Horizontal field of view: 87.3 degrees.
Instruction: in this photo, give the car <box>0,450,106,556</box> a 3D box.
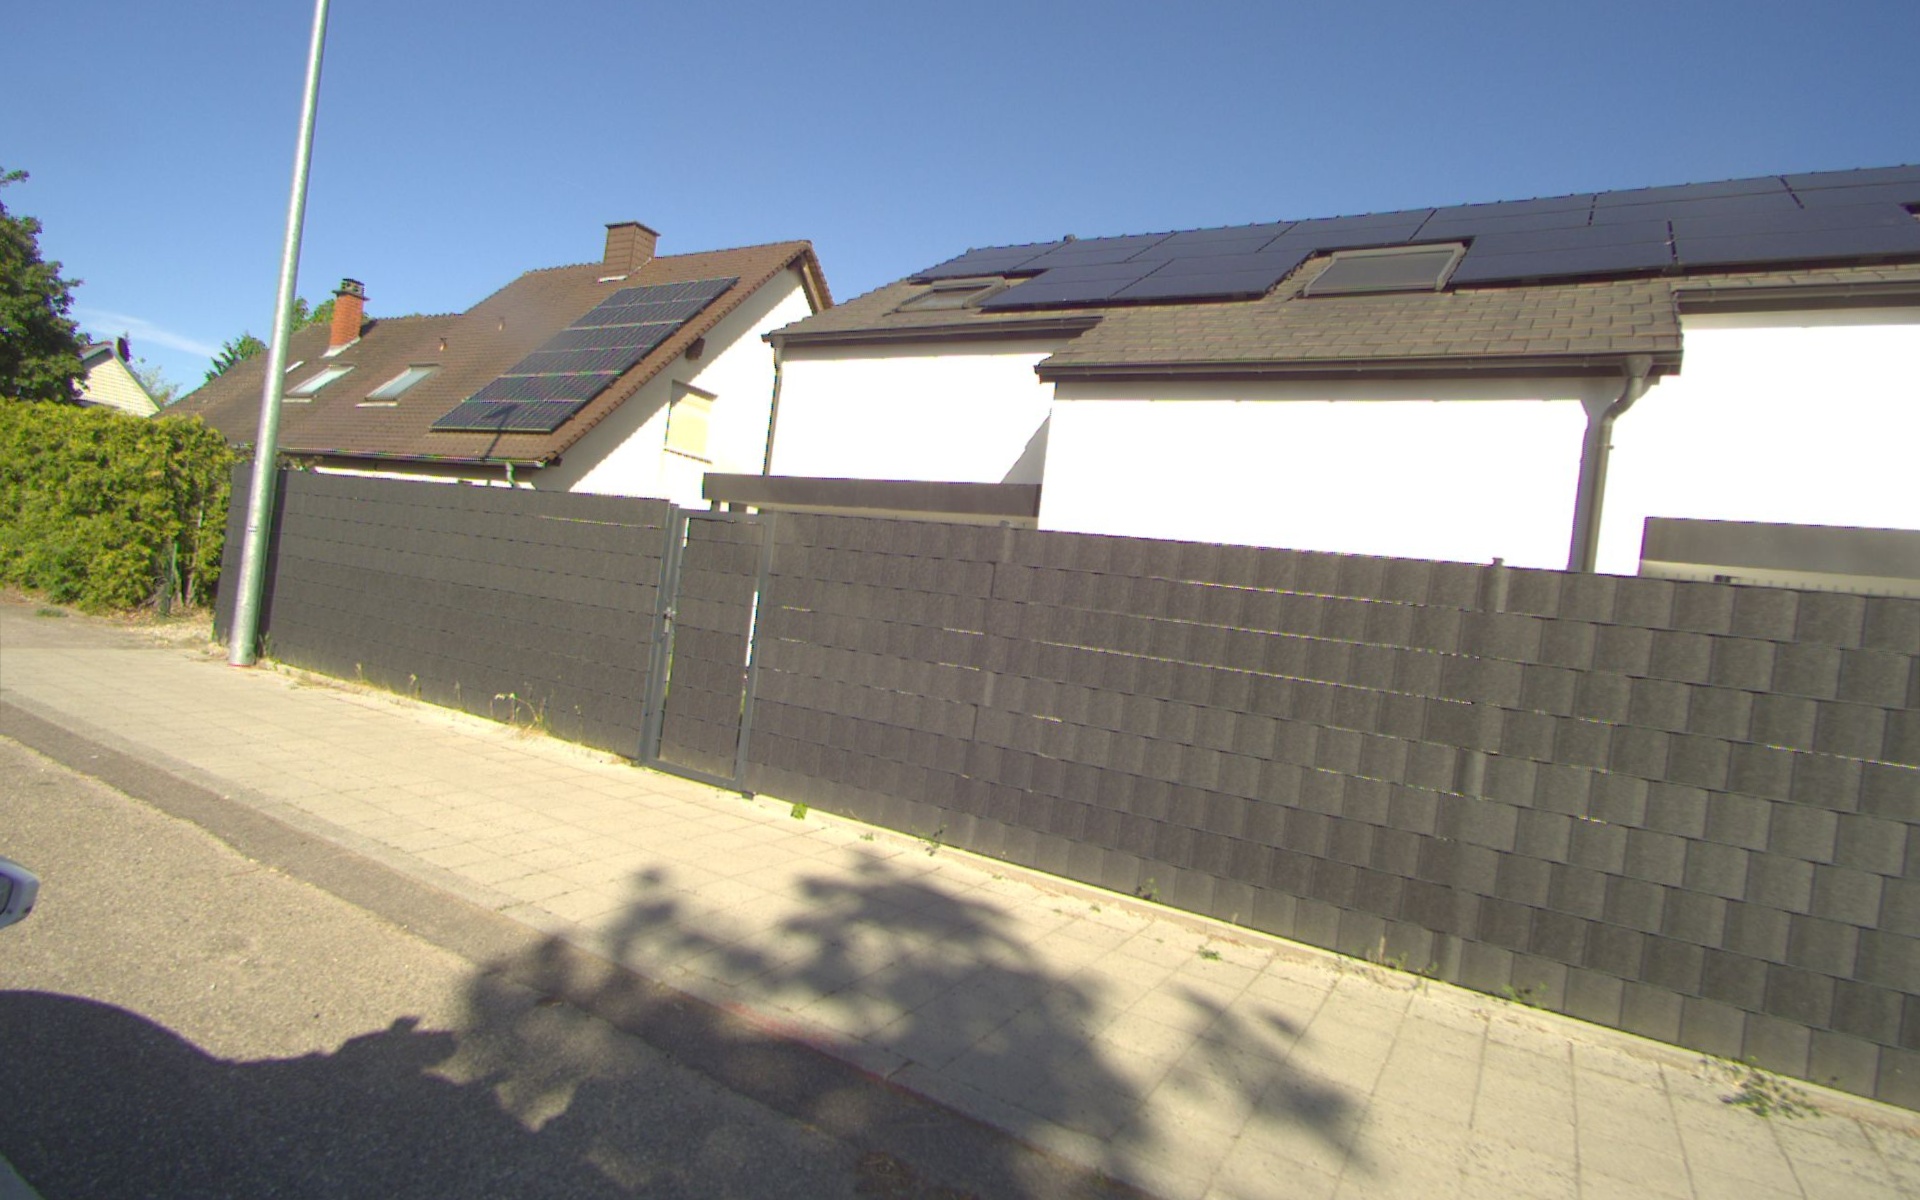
[{"bbox_3d":[-21.370,-2.278,21.133,2.107,2.007,4.690,6,-2,30],"label":"car"}]
